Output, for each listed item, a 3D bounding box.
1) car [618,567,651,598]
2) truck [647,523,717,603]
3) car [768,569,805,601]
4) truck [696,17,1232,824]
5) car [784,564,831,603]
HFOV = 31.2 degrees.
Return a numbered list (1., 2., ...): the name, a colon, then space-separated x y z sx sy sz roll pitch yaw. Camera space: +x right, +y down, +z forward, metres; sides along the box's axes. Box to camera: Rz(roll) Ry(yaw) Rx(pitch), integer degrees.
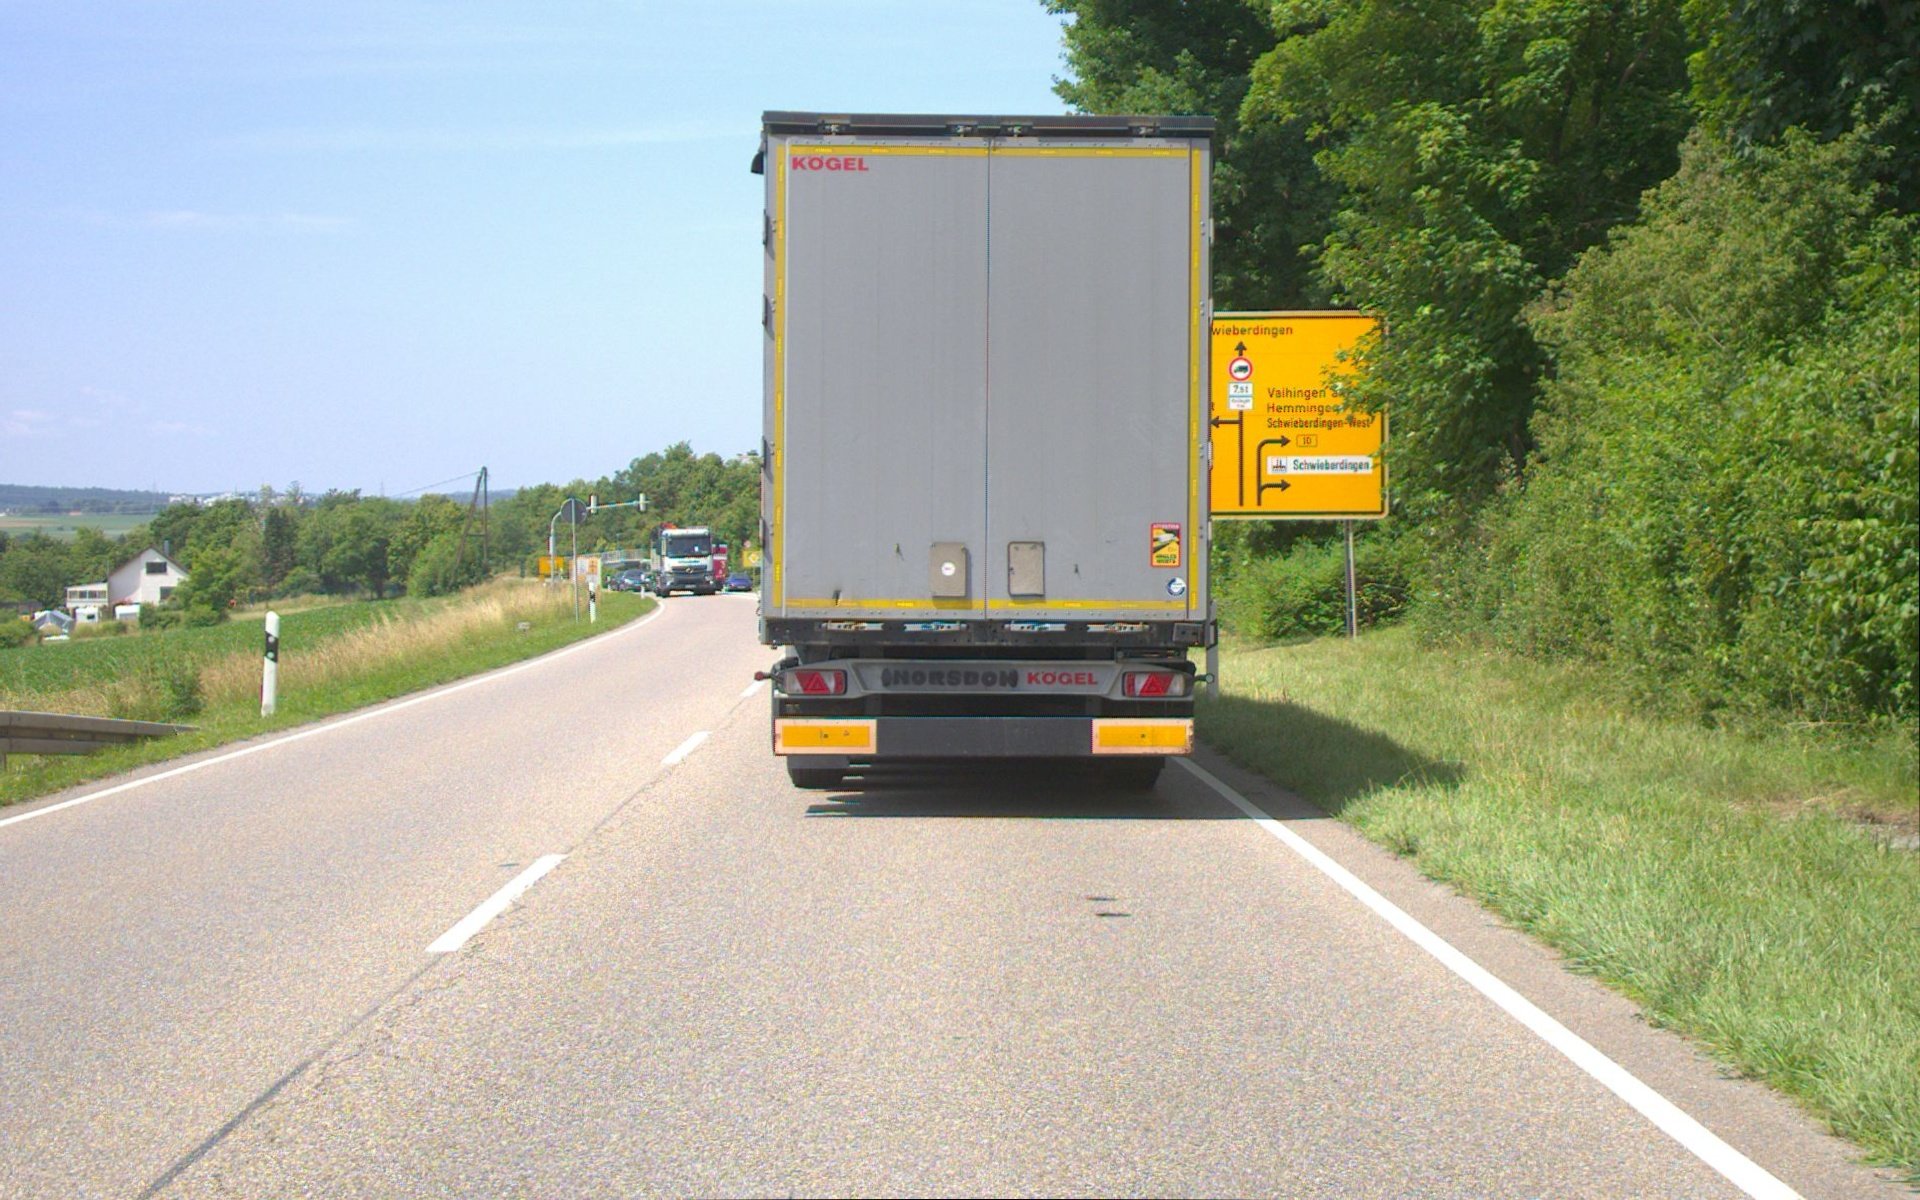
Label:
1. car: -22.241 -1.197 234.692 1.993 1.943 4.504 -3 1 -8
2. truck: -13.378 -1.703 164.638 2.756 3.564 11.067 -3 0 -7
3. car: -10.158 -0.861 200.917 1.892 1.771 4.387 -2 1 -6
4. truck: -0.184 -1.041 23.272 2.907 4.395 8.861 0 1 -3
5. car: -8.311 -0.894 187.099 2.171 2.007 4.527 -2 1 -6
